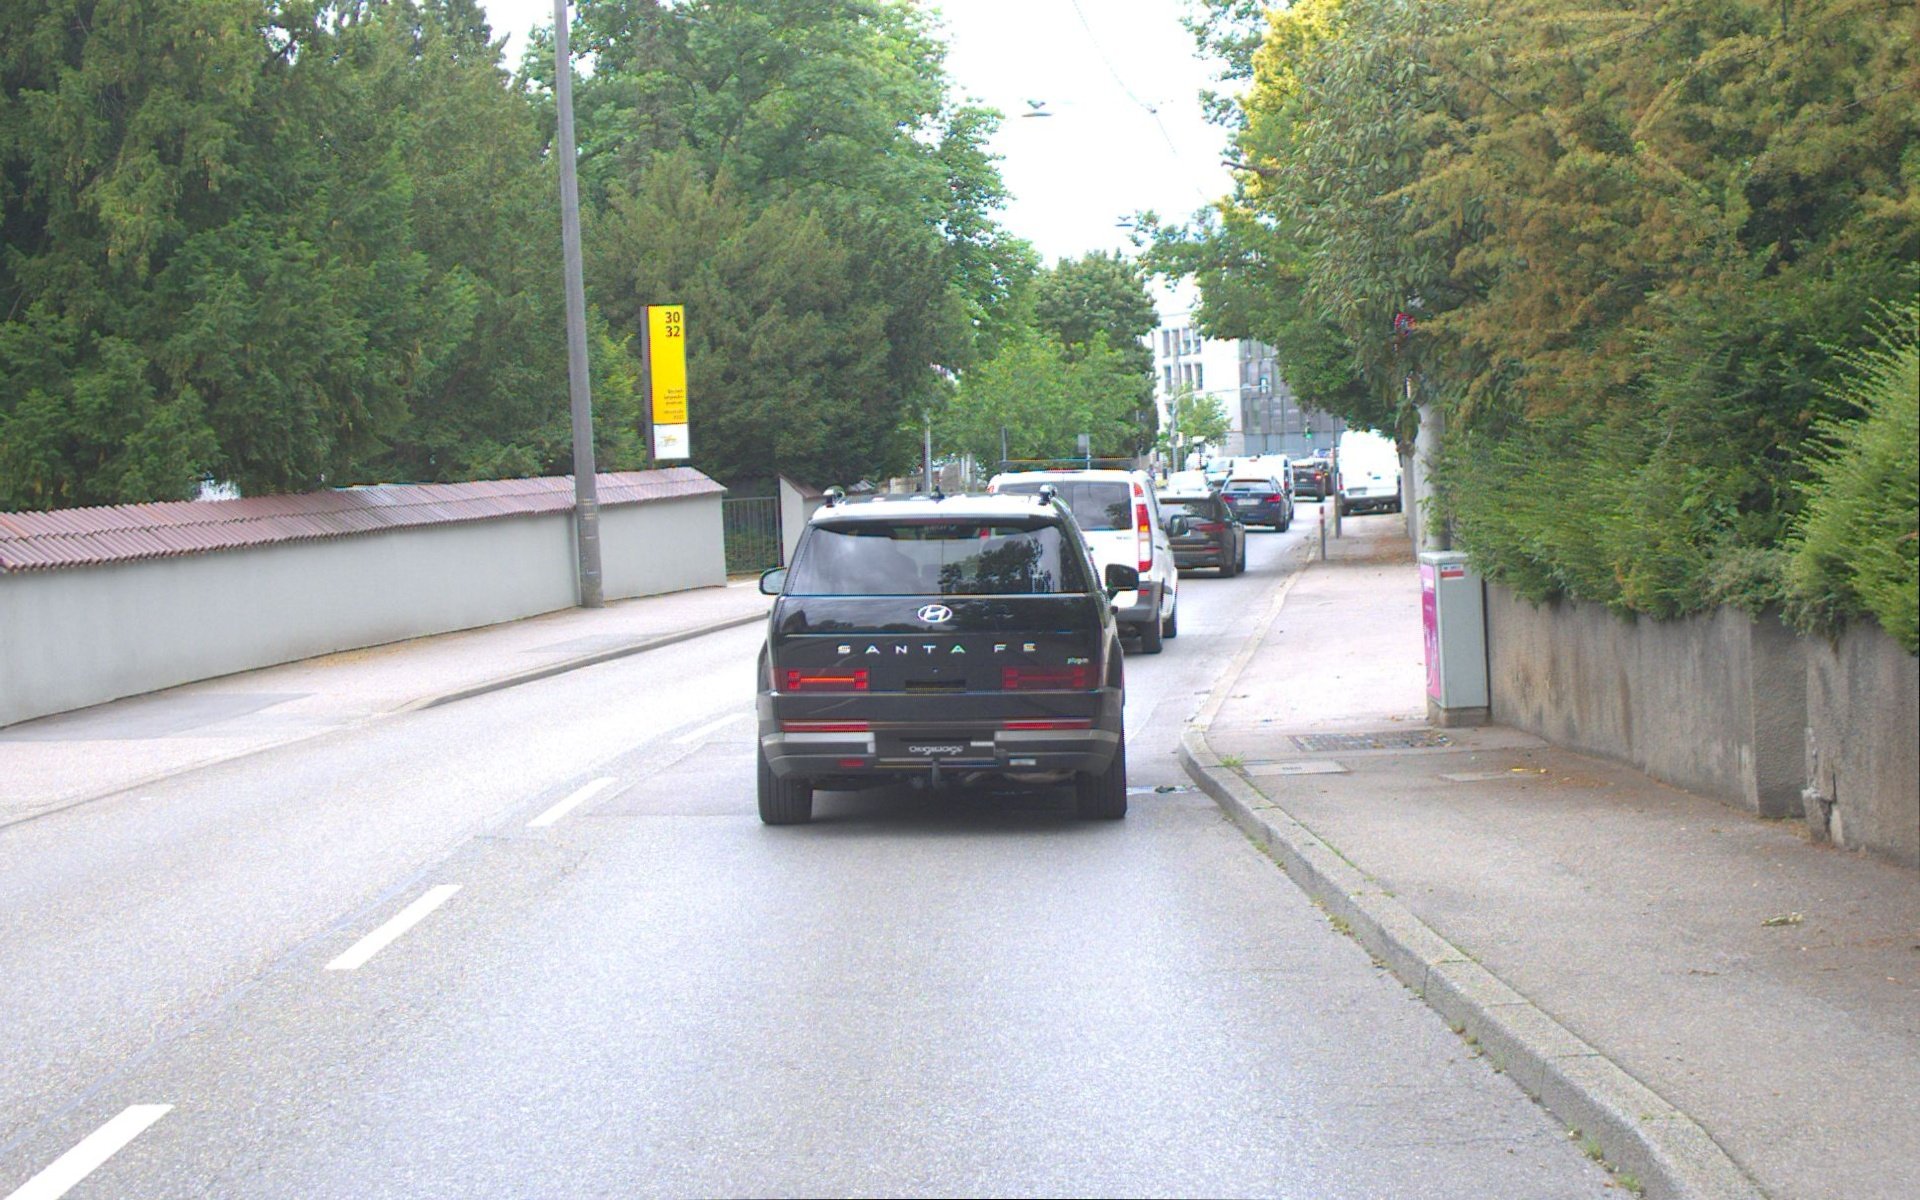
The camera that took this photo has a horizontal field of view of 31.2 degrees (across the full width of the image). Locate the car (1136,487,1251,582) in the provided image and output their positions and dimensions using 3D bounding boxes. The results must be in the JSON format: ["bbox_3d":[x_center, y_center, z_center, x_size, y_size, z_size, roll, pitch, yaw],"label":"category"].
[{"bbox_3d":[3.980,-1.136,58.109,1.676,1.417,3.937,-2,3,7],"label":"car"}]

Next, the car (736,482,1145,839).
[{"bbox_3d":[-0.122,0.246,18.656,1.957,1.707,4.224,0,1,-1],"label":"car"}]

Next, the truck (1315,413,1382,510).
[{"bbox_3d":[14.556,-5.215,128.599,2.281,3.427,5.975,-2,3,7],"label":"truck"}]

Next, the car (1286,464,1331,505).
[{"bbox_3d":[14.169,-4.712,139.739,1.676,1.536,3.937,-2,3,7],"label":"car"}]

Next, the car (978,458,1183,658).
[{"bbox_3d":[1.332,-0.505,36.329,1.957,1.949,4.223,0,3,5],"label":"car"}]

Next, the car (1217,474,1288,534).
[{"bbox_3d":[7.726,-2.558,90.598,1.676,1.417,3.937,-2,3,7],"label":"car"}]

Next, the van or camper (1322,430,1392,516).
[{"bbox_3d":[12.608,-4.049,109.013,2.044,2.569,5.248,-2,3,7],"label":"van or camper"}]

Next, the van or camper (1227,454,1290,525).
[{"bbox_3d":[9.054,-3.363,104.104,1.676,2.000,3.937,-2,3,7],"label":"van or camper"}]
